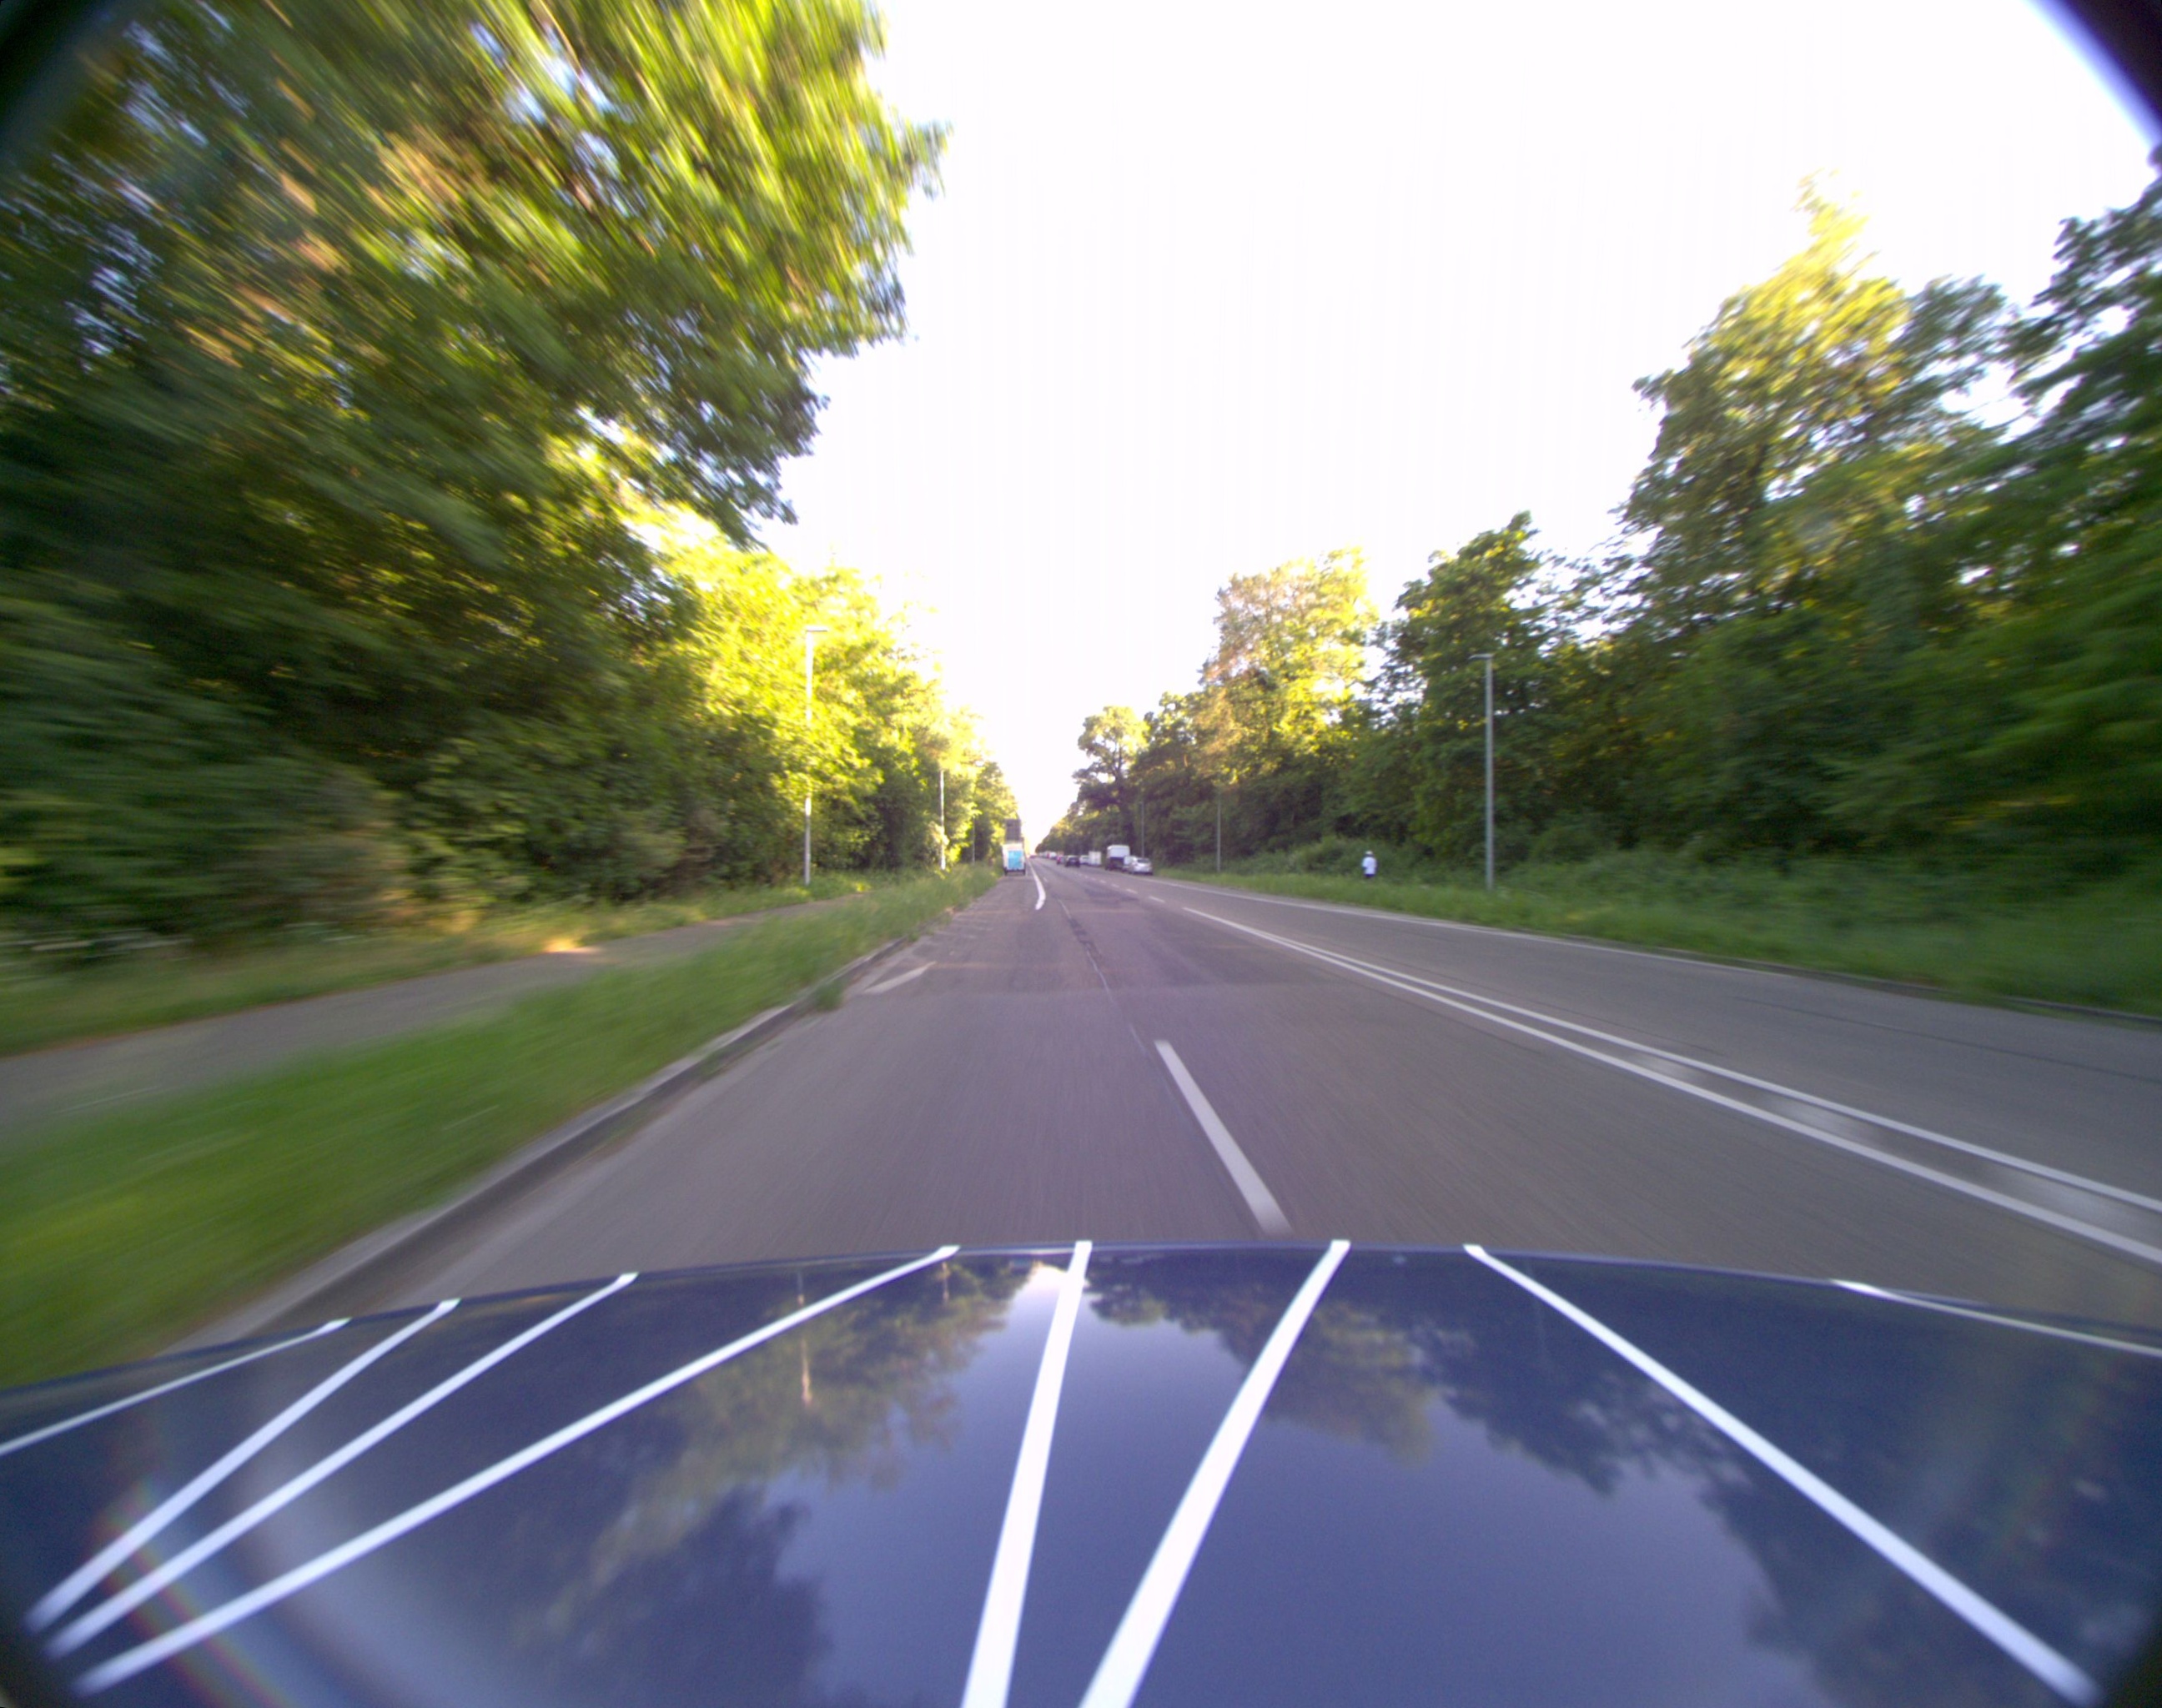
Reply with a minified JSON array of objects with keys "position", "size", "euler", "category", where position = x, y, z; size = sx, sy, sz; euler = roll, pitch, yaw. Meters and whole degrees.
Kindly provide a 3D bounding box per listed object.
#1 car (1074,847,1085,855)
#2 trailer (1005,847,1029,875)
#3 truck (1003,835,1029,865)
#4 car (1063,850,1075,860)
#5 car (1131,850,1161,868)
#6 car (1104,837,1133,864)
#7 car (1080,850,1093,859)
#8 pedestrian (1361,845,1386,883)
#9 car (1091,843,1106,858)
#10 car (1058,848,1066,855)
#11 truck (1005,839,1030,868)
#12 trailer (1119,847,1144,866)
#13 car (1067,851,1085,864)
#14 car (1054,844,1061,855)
[{"position":[-0.330,-0.624,143.456],"size":[1.807,1.496,3.910],"euler":[1,1,-5],"category":"car"},{"position":[-5.287,0.534,62.930],"size":[1.870,2.165,4.126],"euler":[-2,1,-5],"category":"trailer"},{"position":[-7.407,-0.524,86.491],"size":[2.707,3.219,7.124],"euler":[1,1,-5],"category":"truck"},{"position":[-1.963,0.146,124.411],"size":[1.807,1.455,3.910],"euler":[1,1,-5],"category":"car"},{"position":[5.610,0.399,66.058],"size":[1.915,1.455,4.009],"euler":[1,1,-5],"category":"car"},{"position":[4.081,-0.441,83.097],"size":[2.461,2.831,4.796],"euler":[1,1,-5],"category":"car"},{"position":[0.957,0.036,127.654],"size":[1.807,1.496,3.910],"euler":[1,1,-5],"category":"car"},{"position":[12.367,0.418,32.147],"size":[0.713,1.556,0.826],"euler":[1,1,-1],"category":"pedestrian"},{"position":[2.588,-0.576,115.177],"size":[1.692,2.089,4.630],"euler":[1,1,-5],"category":"car"},{"position":[-5.608,-0.779,221.253],"size":[2.000,2.002,3.997],"euler":[-1,0,-6],"category":"car"},{"position":[-6.568,-0.106,78.517],"size":[2.390,2.855,5.595],"euler":[-3,1,-5],"category":"truck"},{"position":[4.701,0.211,71.299],"size":[1.807,1.719,3.645],"euler":[1,1,-5],"category":"trailer"},{"position":[-0.653,0.447,98.417],"size":[1.915,1.455,4.355],"euler":[1,1,-5],"category":"car"},{"position":[-7.779,-1.537,249.296],"size":[2.280,3.481,5.497],"euler":[-2,0,-1],"category":"car"}]
